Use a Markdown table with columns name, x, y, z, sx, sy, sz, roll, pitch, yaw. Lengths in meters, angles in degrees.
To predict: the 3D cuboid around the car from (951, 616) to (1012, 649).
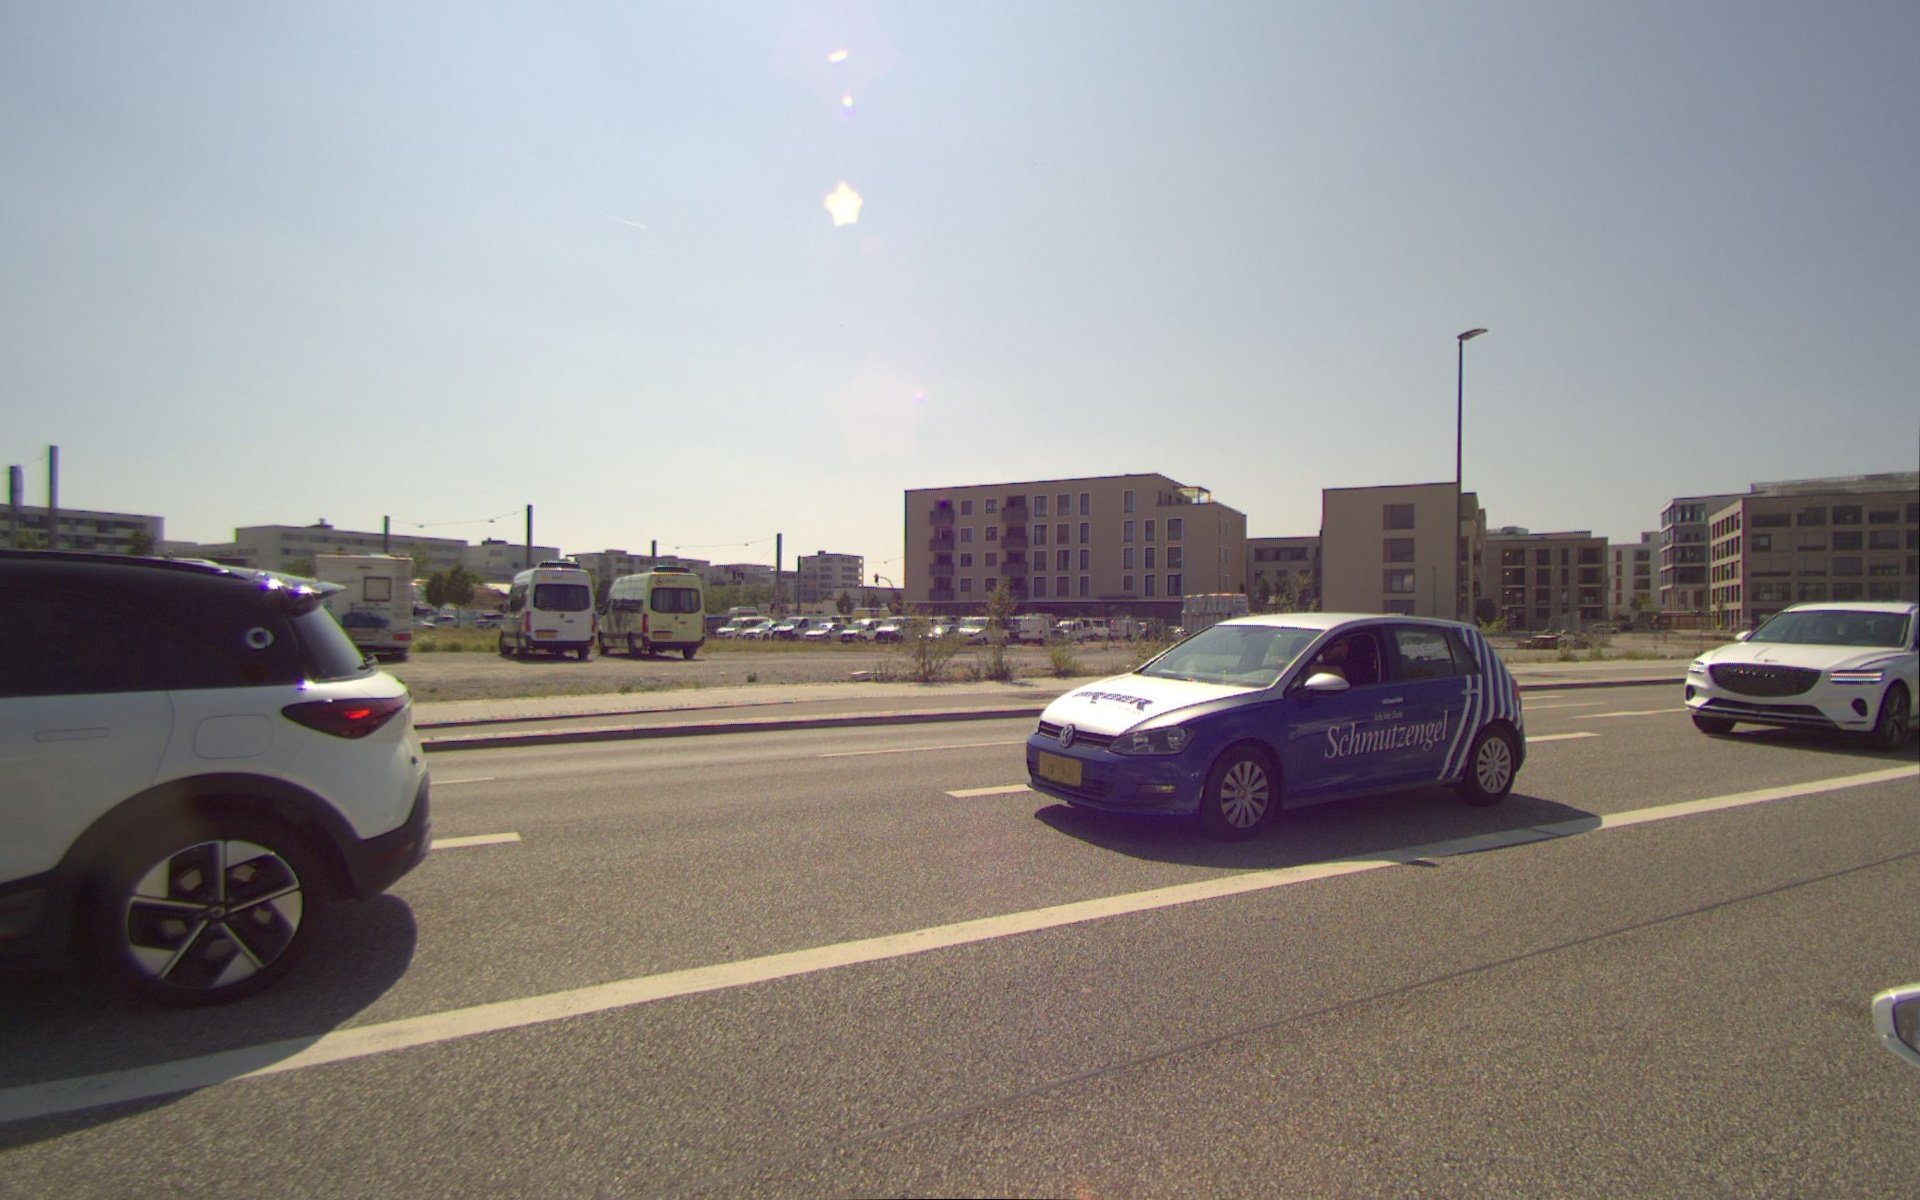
| name | x | y | z | sx | sy | sz | roll | pitch | yaw |
| --- | --- | --- | --- | --- | --- | --- | --- | --- | --- |
| car | 1.435 | 2.091 | 64.673 | 1.964 | 2.040 | 4.646 | -1 | -2 | 29 |

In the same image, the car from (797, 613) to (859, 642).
| name | x | y | z | sx | sy | sz | roll | pitch | yaw |
| --- | --- | --- | --- | --- | --- | --- | --- | --- | --- |
| car | -9.181 | 1.907 | 70.210 | 1.964 | 1.996 | 4.646 | -1 | -2 | 29 |

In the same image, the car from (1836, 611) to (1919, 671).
| name | x | y | z | sx | sy | sz | roll | pitch | yaw |
| --- | --- | --- | --- | --- | --- | --- | --- | --- | --- |
| car | 24.565 | 1.070 | 25.867 | 3.554 | 1.434 | 1.885 | 2 | 0 | -29 |

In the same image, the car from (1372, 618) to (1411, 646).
| name | x | y | z | sx | sy | sz | roll | pitch | yaw |
| --- | --- | --- | --- | --- | --- | --- | --- | --- | --- |
| car | 31.150 | 2.283 | 72.437 | 1.965 | 1.873 | 3.990 | 1 | 0 | 32 |

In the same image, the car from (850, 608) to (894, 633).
| name | x | y | z | sx | sy | sz | roll | pitch | yaw |
| --- | --- | --- | --- | --- | --- | --- | --- | --- | --- |
| car | -7.501 | 1.773 | 86.310 | 1.963 | 2.040 | 3.995 | -1 | -1 | 27 |

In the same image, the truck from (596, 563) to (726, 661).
| name | x | y | z | sx | sy | sz | roll | pitch | yaw |
| --- | --- | --- | --- | --- | --- | --- | --- | --- | --- |
| truck | -9.991 | 0.350 | 33.102 | 2.573 | 2.863 | 6.603 | 1 | 0 | -30 |

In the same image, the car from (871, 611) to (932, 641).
| name | x | y | z | sx | sy | sz | roll | pitch | yaw |
| --- | --- | --- | --- | --- | --- | --- | --- | --- | --- |
| car | -3.886 | 1.742 | 67.503 | 1.964 | 1.996 | 4.646 | -1 | -2 | 29 |

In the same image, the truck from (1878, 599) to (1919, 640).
| name | x | y | z | sx | sy | sz | roll | pitch | yaw |
| --- | --- | --- | --- | --- | --- | --- | --- | --- | --- |
| truck | 56.563 | 1.116 | 57.473 | 2.248 | 2.394 | 5.542 | 1 | -2 | -29 |

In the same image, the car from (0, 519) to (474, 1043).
| name | x | y | z | sx | sy | sz | roll | pitch | yaw |
| --- | --- | --- | --- | --- | --- | --- | --- | --- | --- |
| car | -4.110 | 0.600 | 3.704 | 4.052 | 1.704 | 1.770 | 0 | -1 | -31 |

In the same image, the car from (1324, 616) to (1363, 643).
| name | x | y | z | sx | sy | sz | roll | pitch | yaw |
| --- | --- | --- | --- | --- | --- | --- | --- | --- | --- |
| car | 28.404 | 2.167 | 74.318 | 1.965 | 1.873 | 3.990 | 1 | 0 | 32 |

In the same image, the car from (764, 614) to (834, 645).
| name | x | y | z | sx | sy | sz | roll | pitch | yaw |
| --- | --- | --- | --- | --- | --- | --- | --- | --- | --- |
| car | -11.362 | 2.047 | 71.299 | 1.963 | 1.996 | 5.388 | 3 | 2 | 28 |

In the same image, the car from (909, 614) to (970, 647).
| name | x | y | z | sx | sy | sz | roll | pitch | yaw |
| --- | --- | --- | --- | --- | --- | --- | --- | --- | --- |
| car | -1.300 | 1.986 | 66.081 | 1.964 | 2.040 | 4.646 | -1 | -2 | 29 |

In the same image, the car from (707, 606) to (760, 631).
| name | x | y | z | sx | sy | sz | roll | pitch | yaw |
| --- | --- | --- | --- | --- | --- | --- | --- | --- | --- |
| car | -18.723 | 1.519 | 83.169 | 1.806 | 1.996 | 4.474 | 0 | -2 | 29 |

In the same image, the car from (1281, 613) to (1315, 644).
| name | x | y | z | sx | sy | sz | roll | pitch | yaw |
| --- | --- | --- | --- | --- | --- | --- | --- | --- | --- |
| car | 26.222 | 2.174 | 77.893 | 1.963 | 2.271 | 3.995 | 1 | 0 | 26 |

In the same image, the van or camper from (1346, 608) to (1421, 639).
| name | x | y | z | sx | sy | sz | roll | pitch | yaw |
| --- | --- | --- | --- | --- | --- | --- | --- | --- | --- |
| van or camper | 36.235 | 2.026 | 86.137 | 5.814 | 2.592 | 1.936 | 0 | -1 | 21 |

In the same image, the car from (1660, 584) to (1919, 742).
| name | x | y | z | sx | sy | sz | roll | pitch | yaw |
| --- | --- | --- | --- | --- | --- | --- | --- | --- | --- |
| car | 11.046 | 0.708 | 12.544 | 4.672 | 1.671 | 1.905 | 1 | -1 | -29 |

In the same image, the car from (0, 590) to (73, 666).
| name | x | y | z | sx | sy | sz | roll | pitch | yaw |
| --- | --- | --- | --- | --- | --- | --- | --- | --- | --- |
| car | -23.737 | 0.641 | 25.125 | 1.639 | 1.782 | 3.845 | 1 | 0 | -32 |

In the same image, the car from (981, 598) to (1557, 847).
| name | x | y | z | sx | sy | sz | roll | pitch | yaw |
| --- | --- | --- | --- | --- | --- | --- | --- | --- | --- |
| car | 2.427 | 0.745 | 7.655 | 4.230 | 1.440 | 1.778 | 1 | 0 | -29 |

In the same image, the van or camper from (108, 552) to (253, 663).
| name | x | y | z | sx | sy | sz | roll | pitch | yaw |
| --- | --- | --- | --- | --- | --- | --- | --- | --- | --- |
| van or camper | -20.744 | 0.182 | 26.980 | 2.232 | 2.697 | 4.879 | 1 | 0 | -28 |

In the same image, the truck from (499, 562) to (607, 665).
| name | x | y | z | sx | sy | sz | roll | pitch | yaw |
| --- | --- | --- | --- | --- | --- | --- | --- | --- | --- |
| truck | -12.762 | 0.343 | 31.242 | 2.538 | 2.862 | 5.813 | 2 | 0 | -27 |

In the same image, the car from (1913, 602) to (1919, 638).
| name | x | y | z | sx | sy | sz | roll | pitch | yaw |
| --- | --- | --- | --- | --- | --- | --- | --- | --- | --- |
| car | 62.030 | 1.204 | 60.821 | 2.367 | 2.194 | 5.854 | 0 | -1 | -30 |

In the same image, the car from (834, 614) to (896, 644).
| name | x | y | z | sx | sy | sz | roll | pitch | yaw |
| --- | --- | --- | --- | --- | --- | --- | --- | --- | --- |
| car | -6.525 | 2.014 | 69.398 | 1.964 | 1.996 | 4.646 | -1 | -2 | 29 |

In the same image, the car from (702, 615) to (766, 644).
| name | x | y | z | sx | sy | sz | roll | pitch | yaw |
| --- | --- | --- | --- | --- | --- | --- | --- | --- | --- |
| car | -16.537 | 2.124 | 73.725 | 1.964 | 1.996 | 4.646 | 2 | 1 | 29 |

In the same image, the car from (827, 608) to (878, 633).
| name | x | y | z | sx | sy | sz | roll | pitch | yaw |
| --- | --- | --- | --- | --- | --- | --- | --- | --- | --- |
| car | -9.091 | 1.698 | 85.134 | 1.964 | 1.996 | 4.646 | 1 | 0 | 29 |

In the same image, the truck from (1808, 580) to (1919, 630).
| name | x | y | z | sx | sy | sz | roll | pitch | yaw |
| --- | --- | --- | --- | --- | --- | --- | --- | --- | --- |
| truck | 50.113 | 0.323 | 54.428 | 2.248 | 2.577 | 5.977 | 1 | -2 | -29 |

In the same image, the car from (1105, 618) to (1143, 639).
| name | x | y | z | sx | sy | sz | roll | pitch | yaw |
| --- | --- | --- | --- | --- | --- | --- | --- | --- | --- |
| car | 14.722 | 2.549 | 89.960 | 1.965 | 1.811 | 3.990 | 1 | 0 | 32 |

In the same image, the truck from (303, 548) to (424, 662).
| name | x | y | z | sx | sy | sz | roll | pitch | yaw |
| --- | --- | --- | --- | --- | --- | --- | --- | --- | --- |
| truck | -17.317 | 0.102 | 29.484 | 2.538 | 2.939 | 6.121 | 2 | 0 | -27 |

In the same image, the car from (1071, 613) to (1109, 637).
| name | x | y | z | sx | sy | sz | roll | pitch | yaw |
| --- | --- | --- | --- | --- | --- | --- | --- | --- | --- |
| car | 11.777 | 2.223 | 90.775 | 1.965 | 2.040 | 3.990 | 1 | 0 | 32 |
